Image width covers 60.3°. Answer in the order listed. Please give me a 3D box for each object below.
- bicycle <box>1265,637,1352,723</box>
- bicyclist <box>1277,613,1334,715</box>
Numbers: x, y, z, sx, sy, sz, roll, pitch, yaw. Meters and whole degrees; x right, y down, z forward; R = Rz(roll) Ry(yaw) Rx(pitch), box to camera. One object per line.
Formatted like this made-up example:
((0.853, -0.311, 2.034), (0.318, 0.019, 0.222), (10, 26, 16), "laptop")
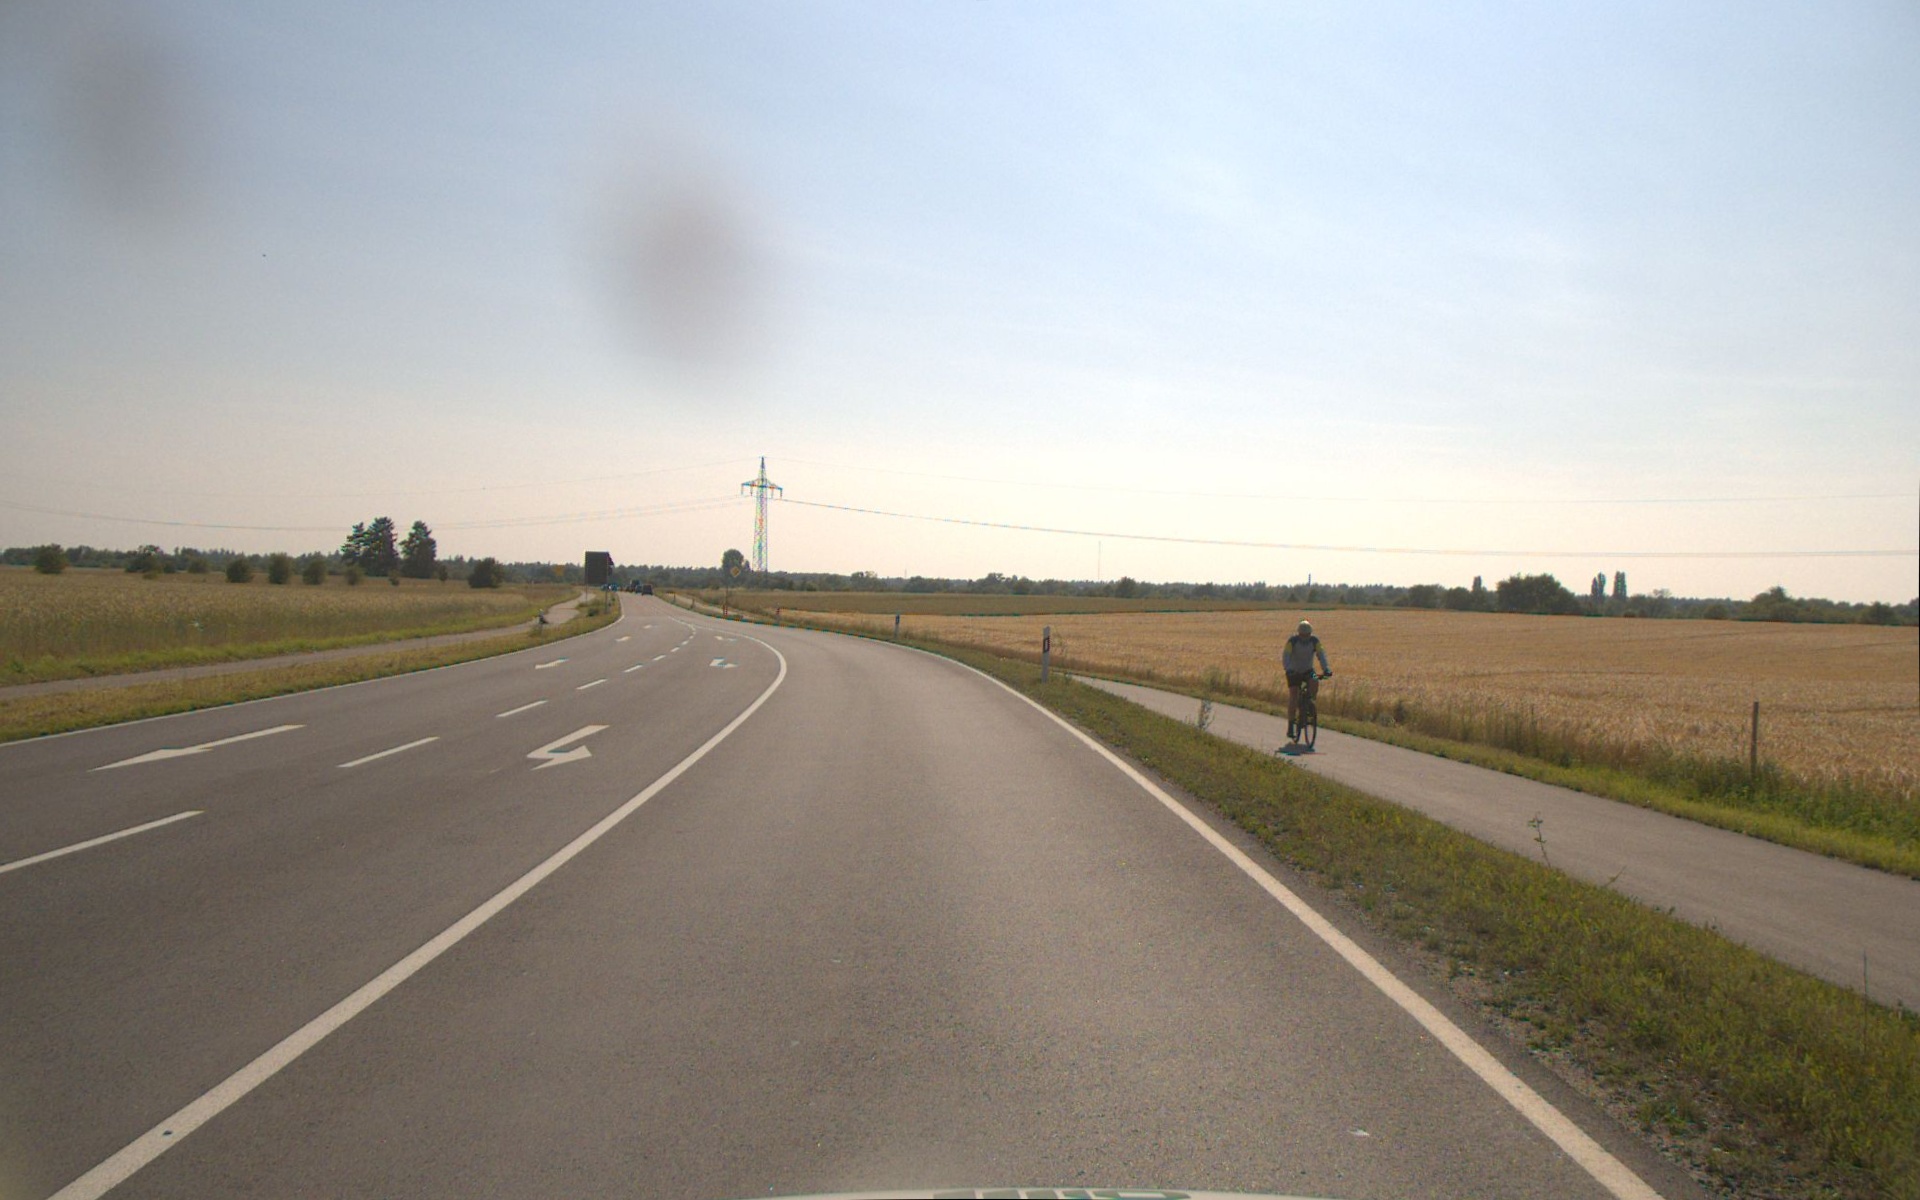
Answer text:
((5.246, 1.178, 25.005), (0.828, 1.162, 2.207), (3, -1, 1), "bicycle")
((5.231, 0.959, 25.061), (0.624, 1.482, 0.817), (3, -1, 1), "bicyclist")
